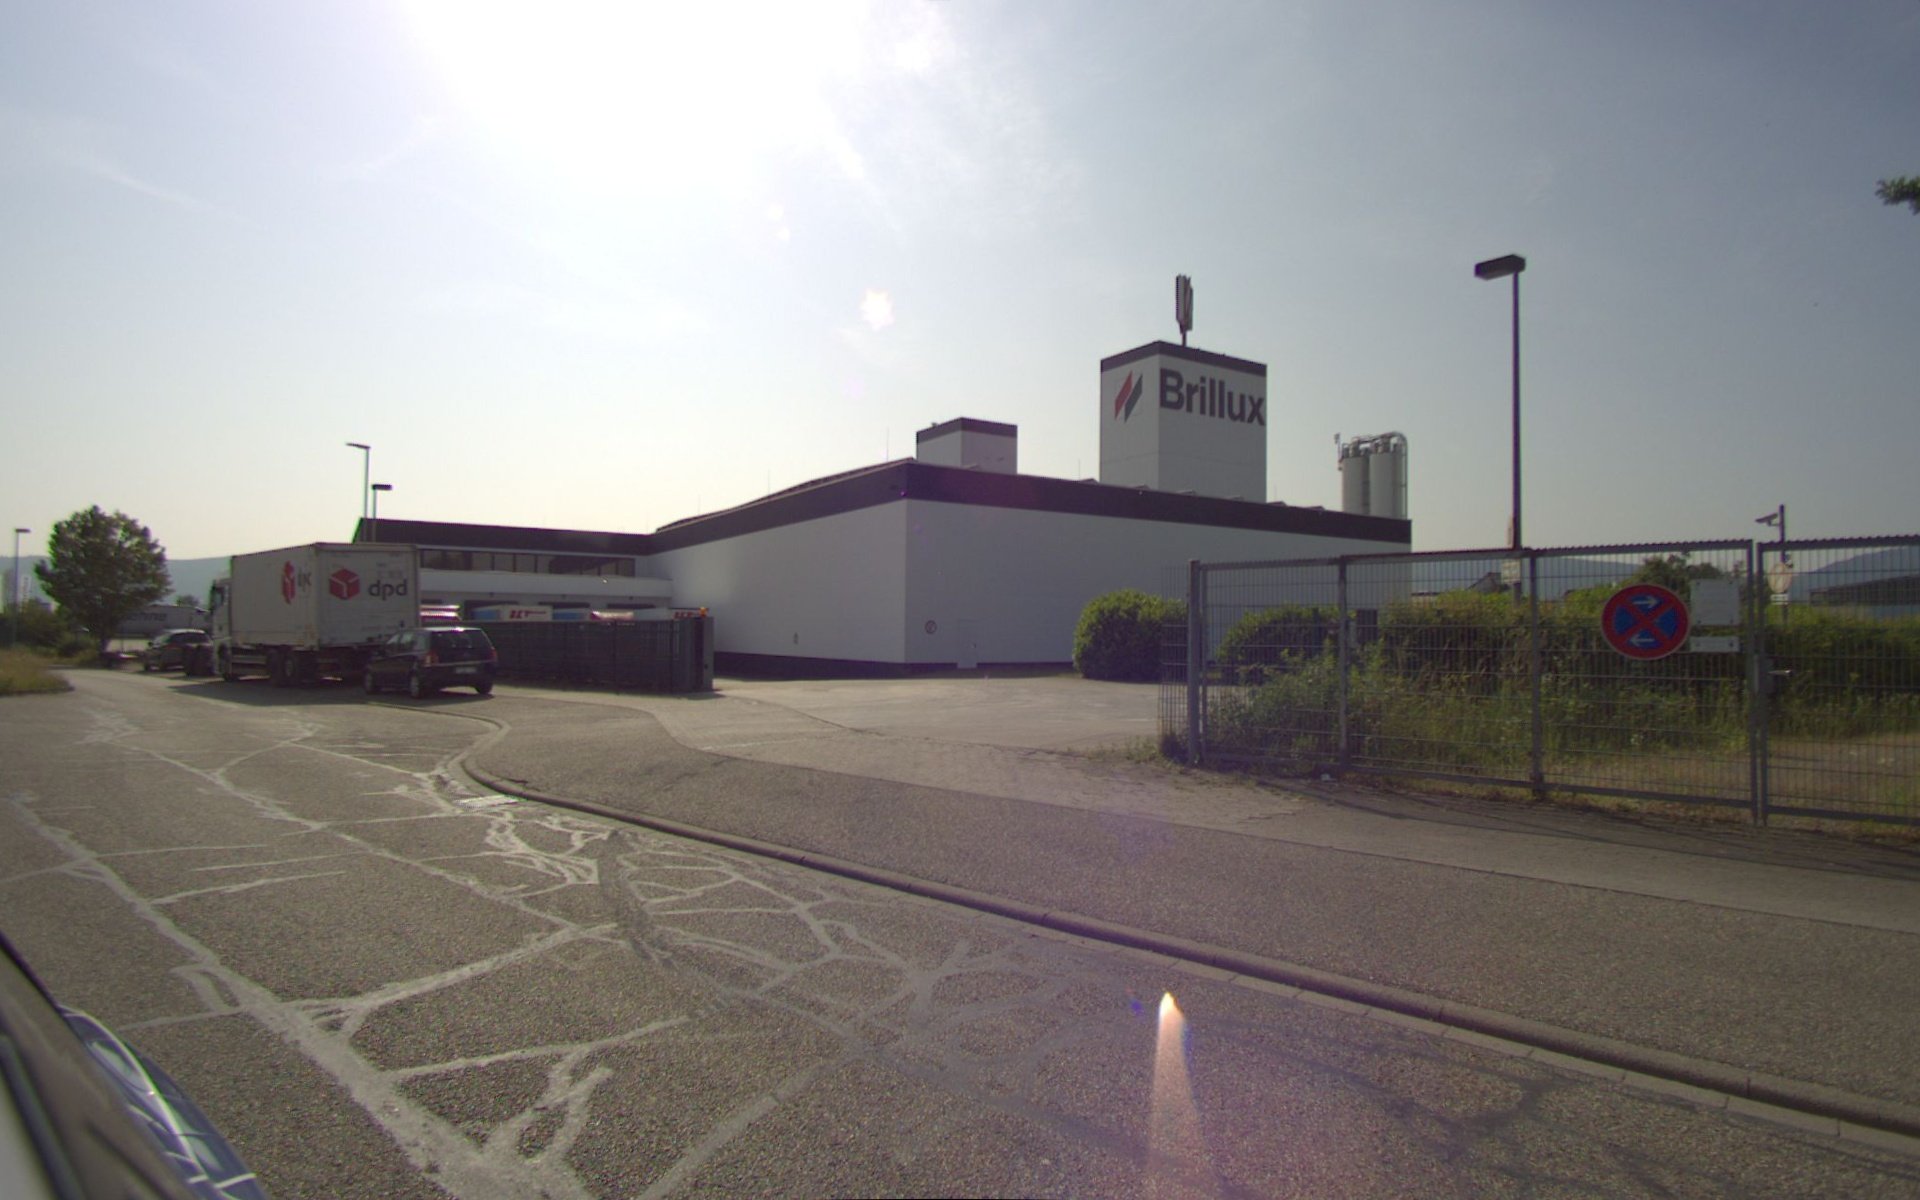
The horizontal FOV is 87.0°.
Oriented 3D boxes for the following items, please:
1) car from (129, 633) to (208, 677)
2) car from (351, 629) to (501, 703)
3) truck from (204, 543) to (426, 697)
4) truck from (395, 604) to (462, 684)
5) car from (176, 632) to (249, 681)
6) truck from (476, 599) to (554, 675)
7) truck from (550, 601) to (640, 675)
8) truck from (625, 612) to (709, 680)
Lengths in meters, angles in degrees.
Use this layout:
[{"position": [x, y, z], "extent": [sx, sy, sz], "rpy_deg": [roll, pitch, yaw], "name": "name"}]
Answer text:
[{"position": [-31.047, 2.124, 39.679], "extent": [3.964, 1.594, 1.713], "rpy_deg": [-2, -1, 41], "name": "car"}, {"position": [-12.888, 1.521, 24.336], "extent": [4.189, 1.604, 1.745], "rpy_deg": [-2, -1, 40], "name": "car"}, {"position": [-19.312, 0.574, 29.922], "extent": [10.056, 3.883, 2.748], "rpy_deg": [-1, 0, 41], "name": "truck"}, {"position": [-29.221, 2.397, 55.439], "extent": [2.613, 4.009, 9.266], "rpy_deg": [2, -3, -31], "name": "truck"}, {"position": [-26.209, 1.955, 35.460], "extent": [3.166, 1.619, 1.423], "rpy_deg": [-2, -1, 41], "name": "car"}, {"position": [-26.507, 2.220, 60.016], "extent": [2.989, 4.168, 9.266], "rpy_deg": [2, -3, -31], "name": "truck"}, {"position": [-22.540, 2.323, 61.881], "extent": [2.743, 4.076, 12.390], "rpy_deg": [2, -3, -31], "name": "truck"}, {"position": [-18.935, 2.921, 64.938], "extent": [2.860, 4.087, 9.266], "rpy_deg": [2, -3, -31], "name": "truck"}]
